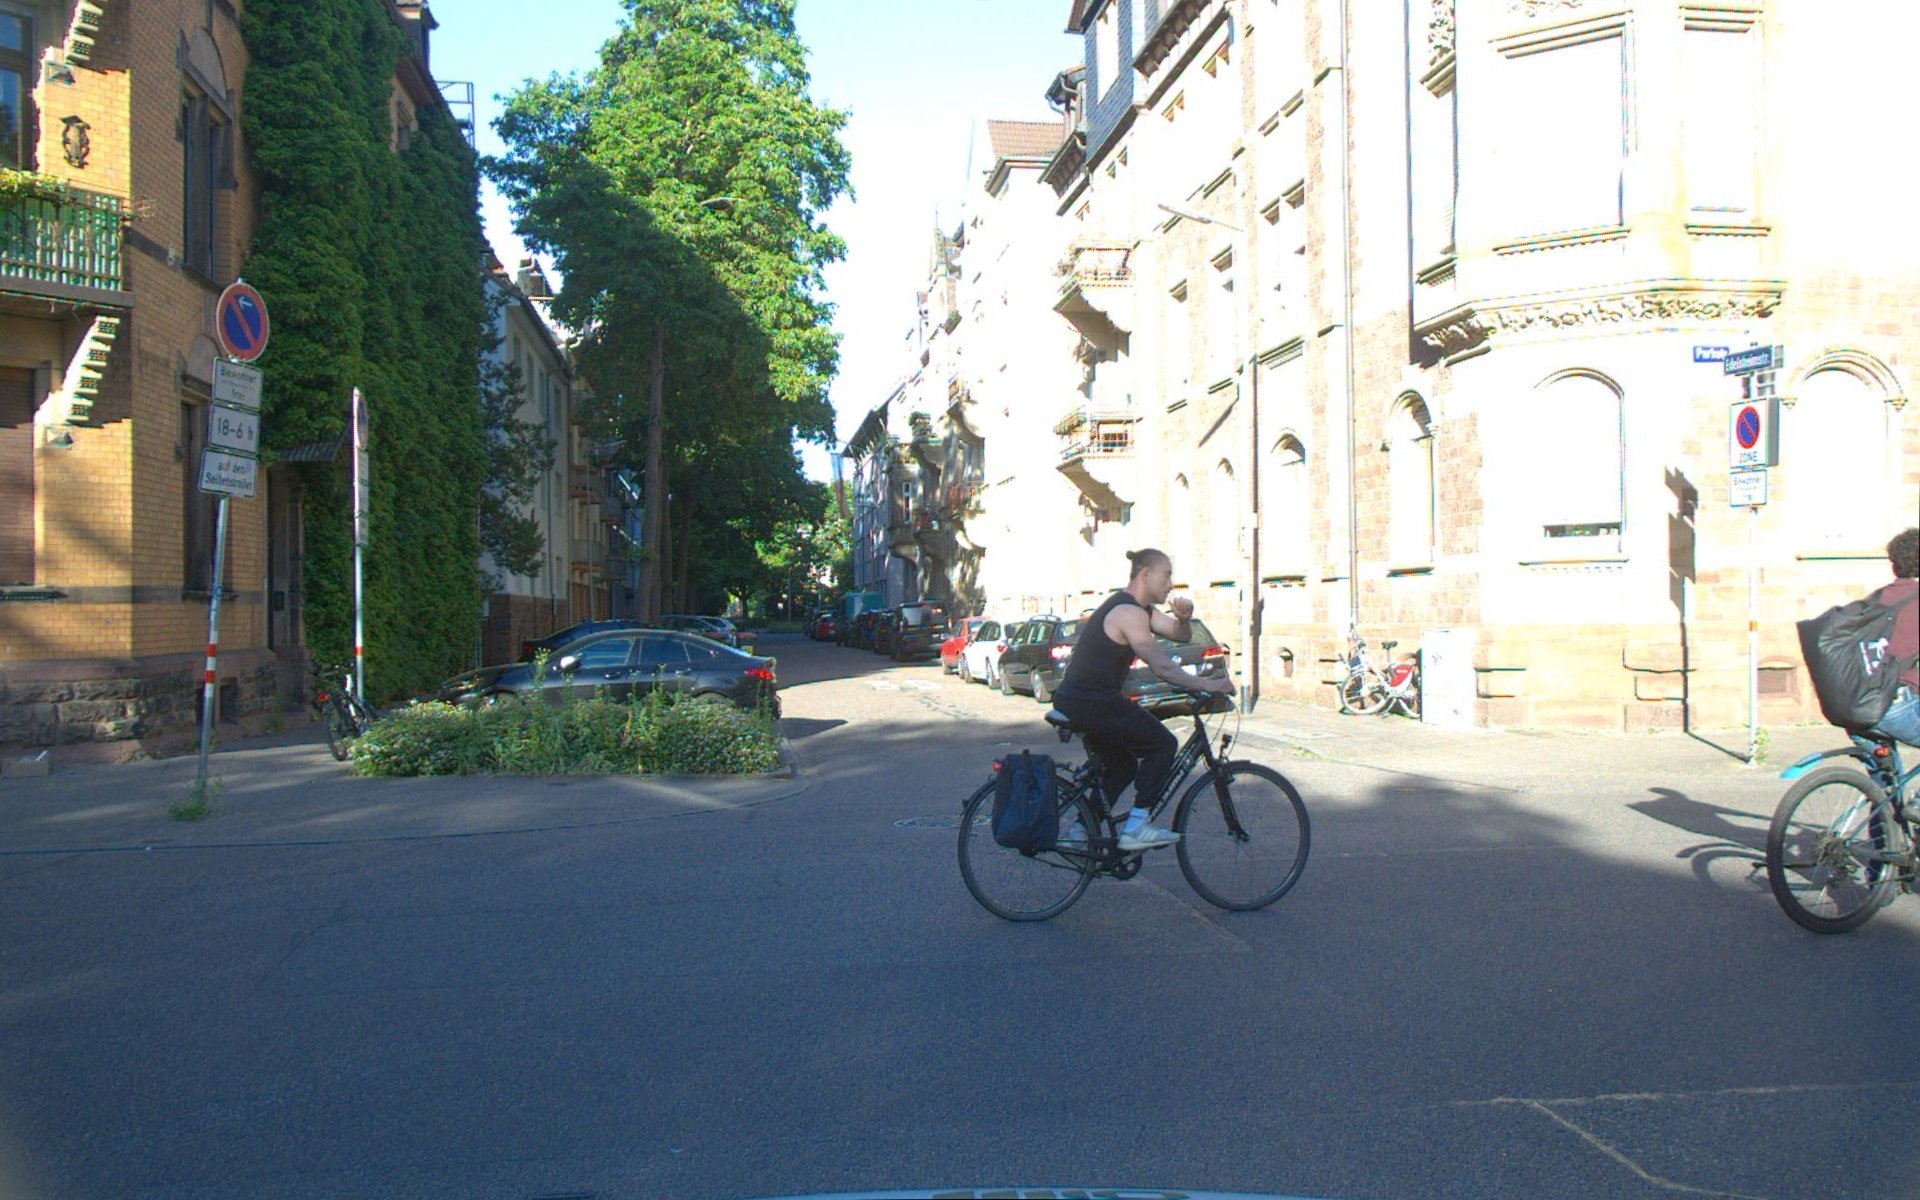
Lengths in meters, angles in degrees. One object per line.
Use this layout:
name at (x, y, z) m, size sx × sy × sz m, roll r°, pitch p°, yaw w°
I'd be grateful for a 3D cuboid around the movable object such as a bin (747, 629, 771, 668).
movable object such as a bin at (-5.548, 1.336, 45.629) m, size 0.618 × 1.071 × 0.566 m, roll 0°, pitch -1°, yaw -14°

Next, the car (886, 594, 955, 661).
car at (-1.299, 0.868, 52.689) m, size 1.769 × 2.039 × 3.992 m, roll 0°, pitch -1°, yaw -8°

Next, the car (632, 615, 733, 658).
car at (-10.569, 1.376, 63.074) m, size 3.732 × 1.603 × 1.706 m, roll 0°, pitch -1°, yaw -11°

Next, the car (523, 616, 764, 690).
car at (-6.470, 1.071, 34.105) m, size 4.747 × 1.460 × 1.706 m, roll 0°, pitch -1°, yaw -10°

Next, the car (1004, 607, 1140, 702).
car at (1.965, 0.950, 30.206) m, size 1.705 × 1.609 × 3.992 m, roll 0°, pitch -1°, yaw -8°

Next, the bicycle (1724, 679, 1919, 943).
bicycle at (4.559, 0.930, 7.611) m, size 1.927 × 1.091 × 0.556 m, roll 0°, pitch 2°, yaw -12°

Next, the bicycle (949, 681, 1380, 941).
bicycle at (0.965, 0.957, 7.879) m, size 1.930 × 1.091 × 0.695 m, roll 0°, pitch -1°, yaw -16°

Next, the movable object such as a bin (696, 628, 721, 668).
movable object such as a bin at (-6.895, 1.312, 45.296) m, size 0.618 × 1.071 × 0.566 m, roll 0°, pitch -1°, yaw -14°

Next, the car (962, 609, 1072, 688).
car at (1.162, 1.001, 35.589) m, size 1.705 × 1.609 × 3.992 m, roll 0°, pitch -1°, yaw -8°

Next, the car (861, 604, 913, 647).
car at (-3.014, 1.016, 67.715) m, size 1.769 × 1.708 × 3.992 m, roll 0°, pitch -1°, yaw -8°

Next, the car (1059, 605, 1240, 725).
car at (2.683, 0.893, 24.291) m, size 1.705 × 1.609 × 3.992 m, roll 0°, pitch -1°, yaw -8°

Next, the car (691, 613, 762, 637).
car at (-12.634, 1.333, 89.272) m, size 3.732 × 1.262 × 1.706 m, roll 0°, pitch -1°, yaw -11°

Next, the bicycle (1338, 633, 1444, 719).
bicycle at (5.415, 0.936, 20.863) m, size 0.506 × 1.015 × 1.567 m, roll 0°, pitch -1°, yaw -20°

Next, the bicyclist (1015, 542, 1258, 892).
bicyclist at (0.824, 0.525, 7.847) m, size 0.953 × 1.553 × 0.705 m, roll 0°, pitch -1°, yaw -17°

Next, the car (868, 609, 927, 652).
car at (-2.336, 1.109, 60.833) m, size 1.769 × 1.541 × 3.992 m, roll 0°, pitch -1°, yaw -8°

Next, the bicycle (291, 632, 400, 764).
bicycle at (-6.470, 1.004, 17.484) m, size 0.551 × 1.290 × 1.602 m, roll -1°, pitch 0°, yaw -1°

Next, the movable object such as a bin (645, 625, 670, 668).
movable object such as a bin at (-8.225, 1.261, 44.988) m, size 0.623 × 1.146 × 0.485 m, roll 0°, pitch -1°, yaw -14°

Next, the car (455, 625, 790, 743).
car at (-4.408, 1.071, 21.967) m, size 4.166 × 1.460 × 1.995 m, roll 0°, pitch -1°, yaw -10°

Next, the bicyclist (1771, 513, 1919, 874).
bicyclist at (4.382, 0.407, 7.584) m, size 0.951 × 1.553 × 0.719 m, roll 0°, pitch -1°, yaw -11°

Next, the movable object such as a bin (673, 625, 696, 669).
movable object such as a bin at (-7.537, 1.277, 45.193) m, size 0.588 × 1.173 × 0.485 m, roll 0°, pitch -1°, yaw -14°

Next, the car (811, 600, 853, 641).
car at (-7.363, 1.187, 94.652) m, size 2.125 × 2.276 × 4.781 m, roll 0°, pitch -1°, yaw -8°

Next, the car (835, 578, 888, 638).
car at (-4.676, 0.398, 77.760) m, size 2.125 × 2.738 × 4.781 m, roll 0°, pitch -1°, yaw -8°

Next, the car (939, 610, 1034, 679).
car at (0.586, 1.044, 40.152) m, size 1.705 × 1.609 × 3.992 m, roll 0°, pitch -1°, yaw -8°

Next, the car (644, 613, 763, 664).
car at (-8.310, 1.239, 53.452) m, size 3.734 × 1.603 × 1.705 m, roll 0°, pitch -1°, yaw -12°

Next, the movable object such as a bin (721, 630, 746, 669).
movable object such as a bin at (-6.228, 1.355, 45.496) m, size 0.618 × 1.071 × 0.566 m, roll 0°, pitch -1°, yaw -14°
